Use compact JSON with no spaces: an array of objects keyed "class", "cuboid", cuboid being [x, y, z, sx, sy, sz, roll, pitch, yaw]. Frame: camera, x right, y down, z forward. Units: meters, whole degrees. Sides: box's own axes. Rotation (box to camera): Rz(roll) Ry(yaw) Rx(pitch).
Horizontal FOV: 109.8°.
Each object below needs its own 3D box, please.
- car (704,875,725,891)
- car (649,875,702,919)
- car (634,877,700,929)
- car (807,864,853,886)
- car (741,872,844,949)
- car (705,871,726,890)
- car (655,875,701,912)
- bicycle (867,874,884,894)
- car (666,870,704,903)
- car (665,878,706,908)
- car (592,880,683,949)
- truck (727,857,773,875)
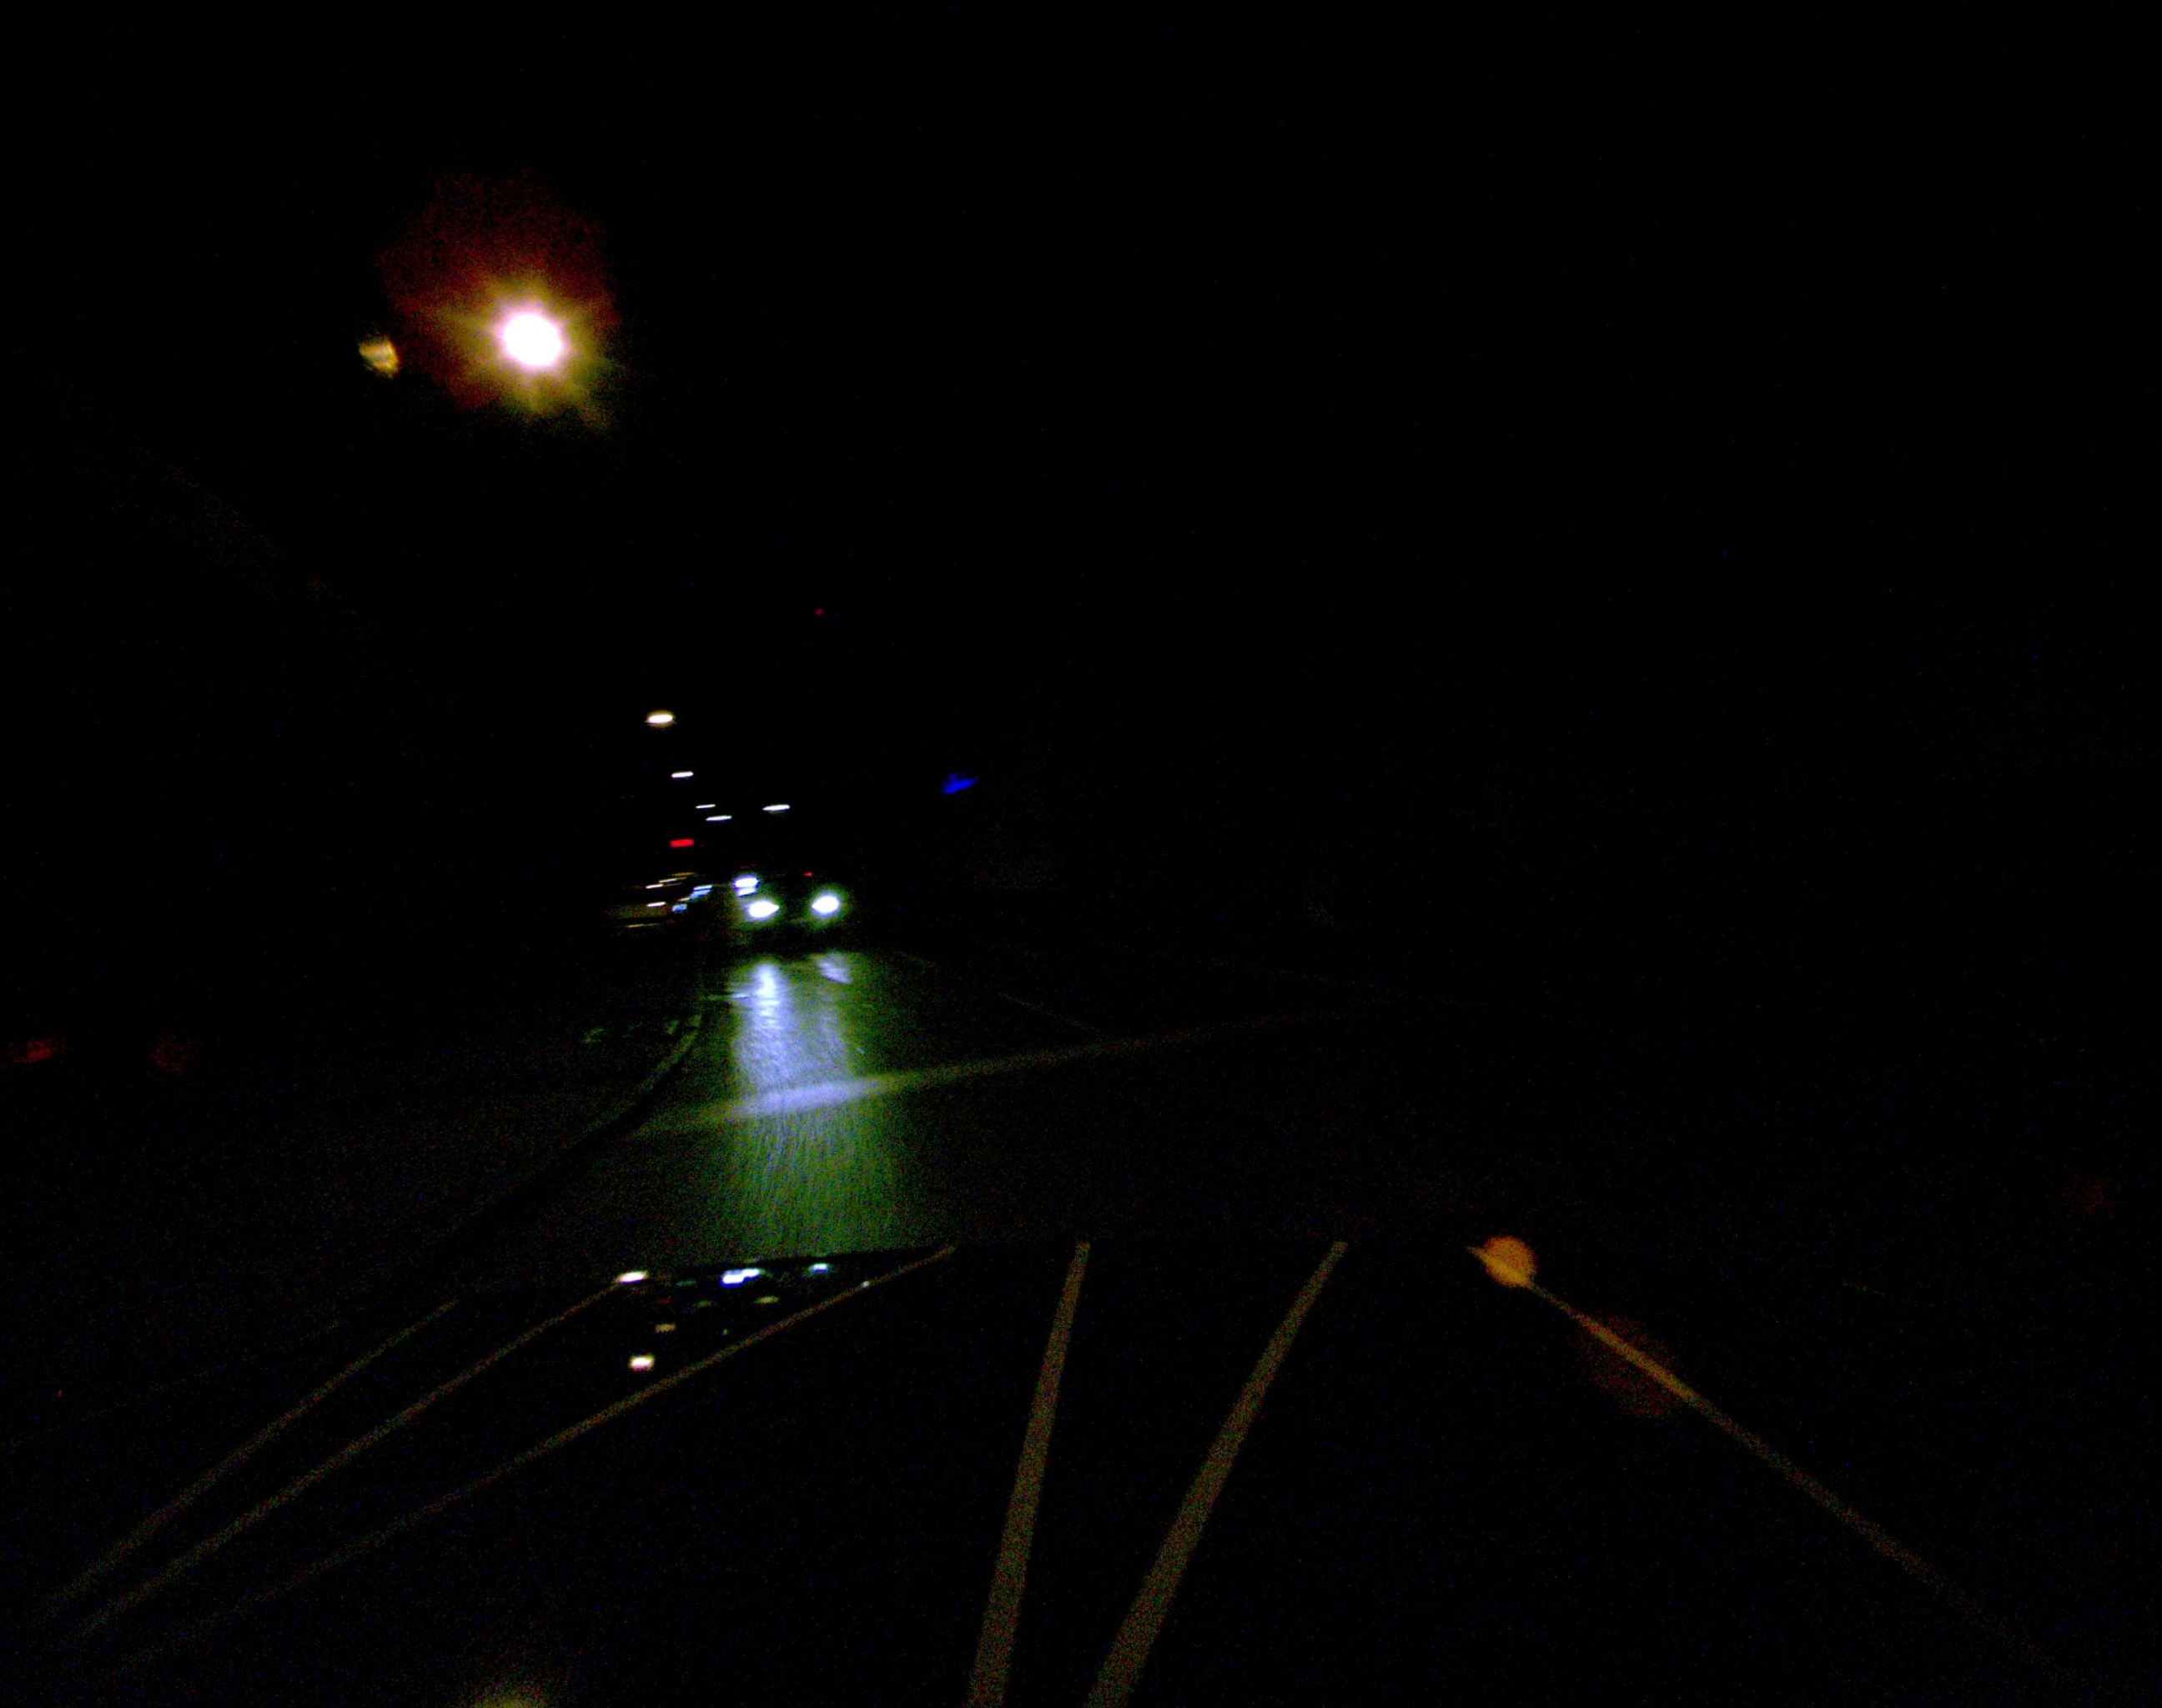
[{"class":"car","cuboid":[-38.976,3.110,80.824,1.828,1.589,4.211,0,-1,-28]},{"class":"car","cuboid":[-17.109,1.757,32.124,1.832,1.613,4.448,-2,-1,-28]},{"class":"car","cuboid":[-14.528,1.641,26.758,1.783,1.535,4.536,-3,1,-28]},{"class":"car","cuboid":[-24.589,2.075,74.525,4.001,1.878,1.907,-3,1,-13]},{"class":"car","cuboid":[-7.283,1.300,18.964,2.002,1.606,3.992,-2,0,-26]},{"class":"car","cuboid":[-41.313,2.943,85.912,2.081,1.917,5.359,-1,0,-26]},{"class":"car","cuboid":[-19.373,1.862,36.652,1.832,1.579,4.619,-2,-1,-27]},{"class":"bicycle","cuboid":[-11.478,1.644,42.427,0.622,1.045,1.718,-3,1,-25]},{"class":"car","cuboid":[-23.703,1.918,45.632,1.809,1.864,4.764,-1,-1,-26]},{"class":"car","cuboid":[-21.233,2.047,40.910,1.825,1.418,4.180,-1,-1,-26]},{"class":"car","cuboid":[-11.950,1.547,20.715,1.868,1.480,4.536,-3,1,-28]},{"class":"truck","cuboid":[-75.784,2.672,174.045,9.359,3.701,1.998,-3,1,-10]}]
